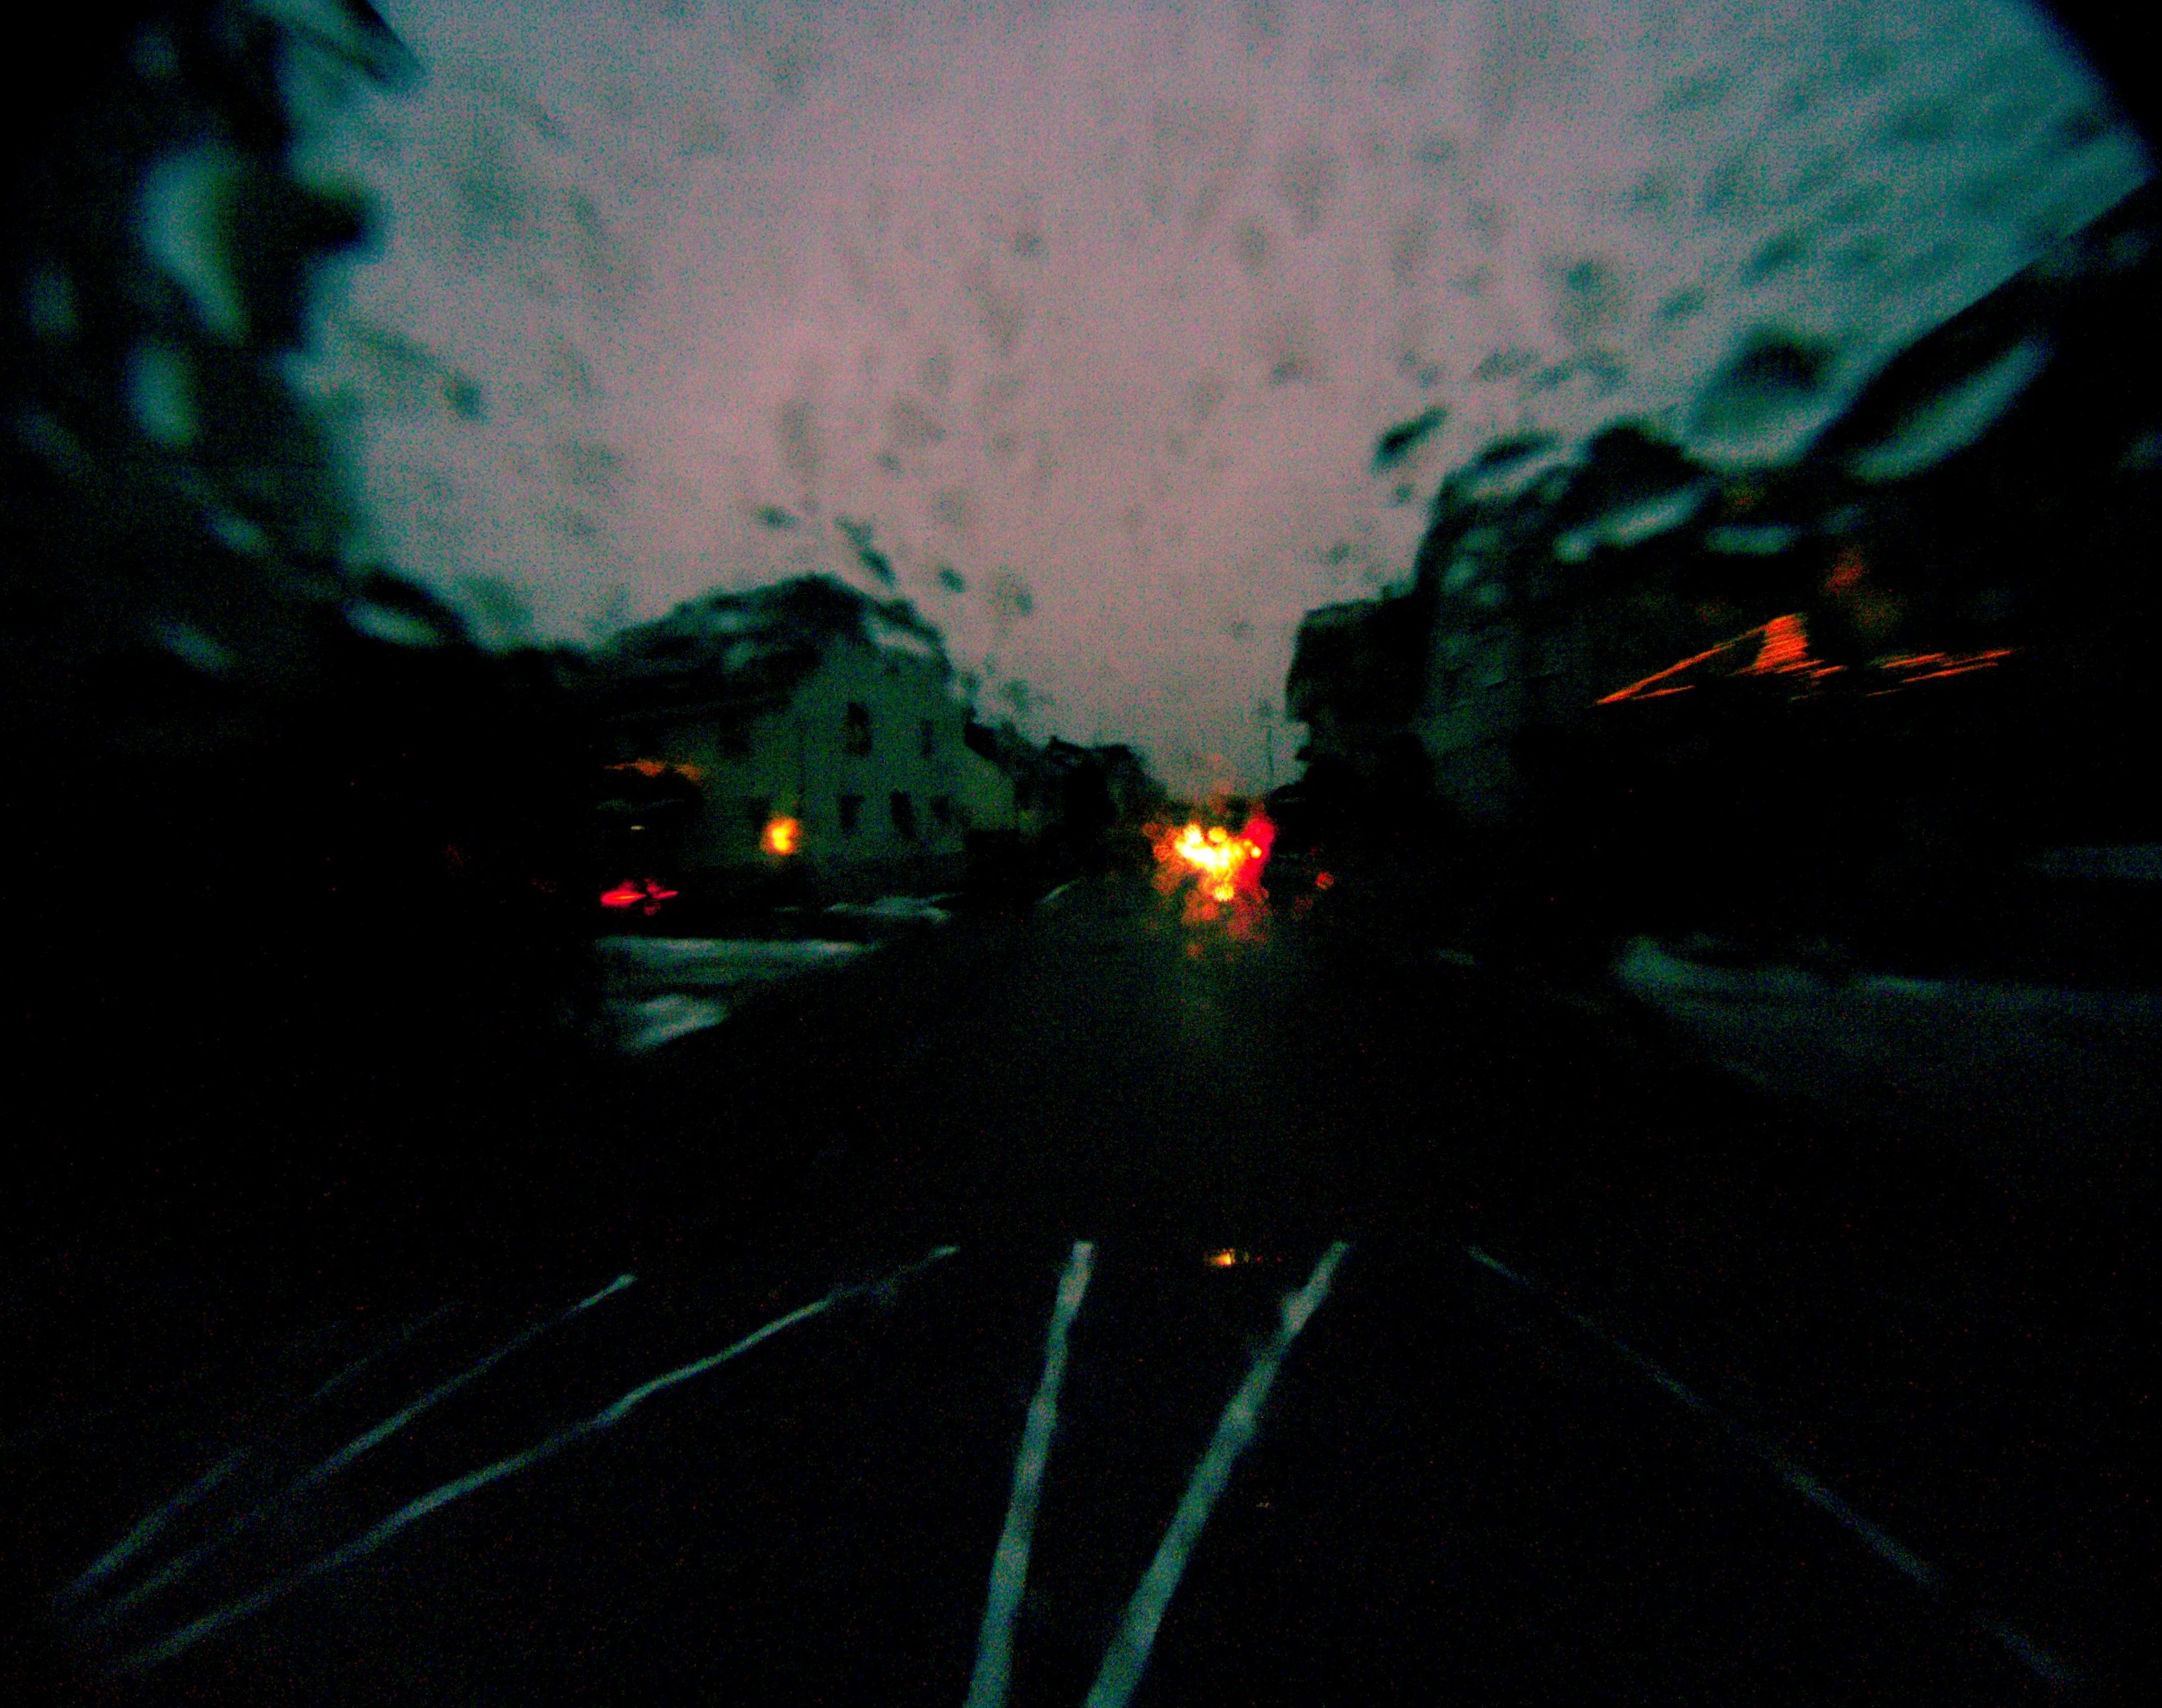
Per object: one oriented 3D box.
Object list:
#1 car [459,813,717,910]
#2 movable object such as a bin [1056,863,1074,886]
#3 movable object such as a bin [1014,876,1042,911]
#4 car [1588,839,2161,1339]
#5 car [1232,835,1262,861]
[{"bbox_3d":[-10.034,0.156,15.664,3.995,1.608,2.001,-4,0,6],"label":"car"},{"bbox_3d":[-0.692,0.901,33.437,0.538,0.932,0.690,-2,1,19],"label":"movable object such as a bin"},{"bbox_3d":[-1.461,1.090,21.048,0.638,0.912,0.686,-3,1,6],"label":"movable object such as a bin"},{"bbox_3d":[3.986,0.681,2.946,1.622,1.430,3.656,-2,1,1],"label":"car"},{"bbox_3d":[13.422,-0.518,61.197,2.113,2.015,4.987,-2,1,15],"label":"car"}]
